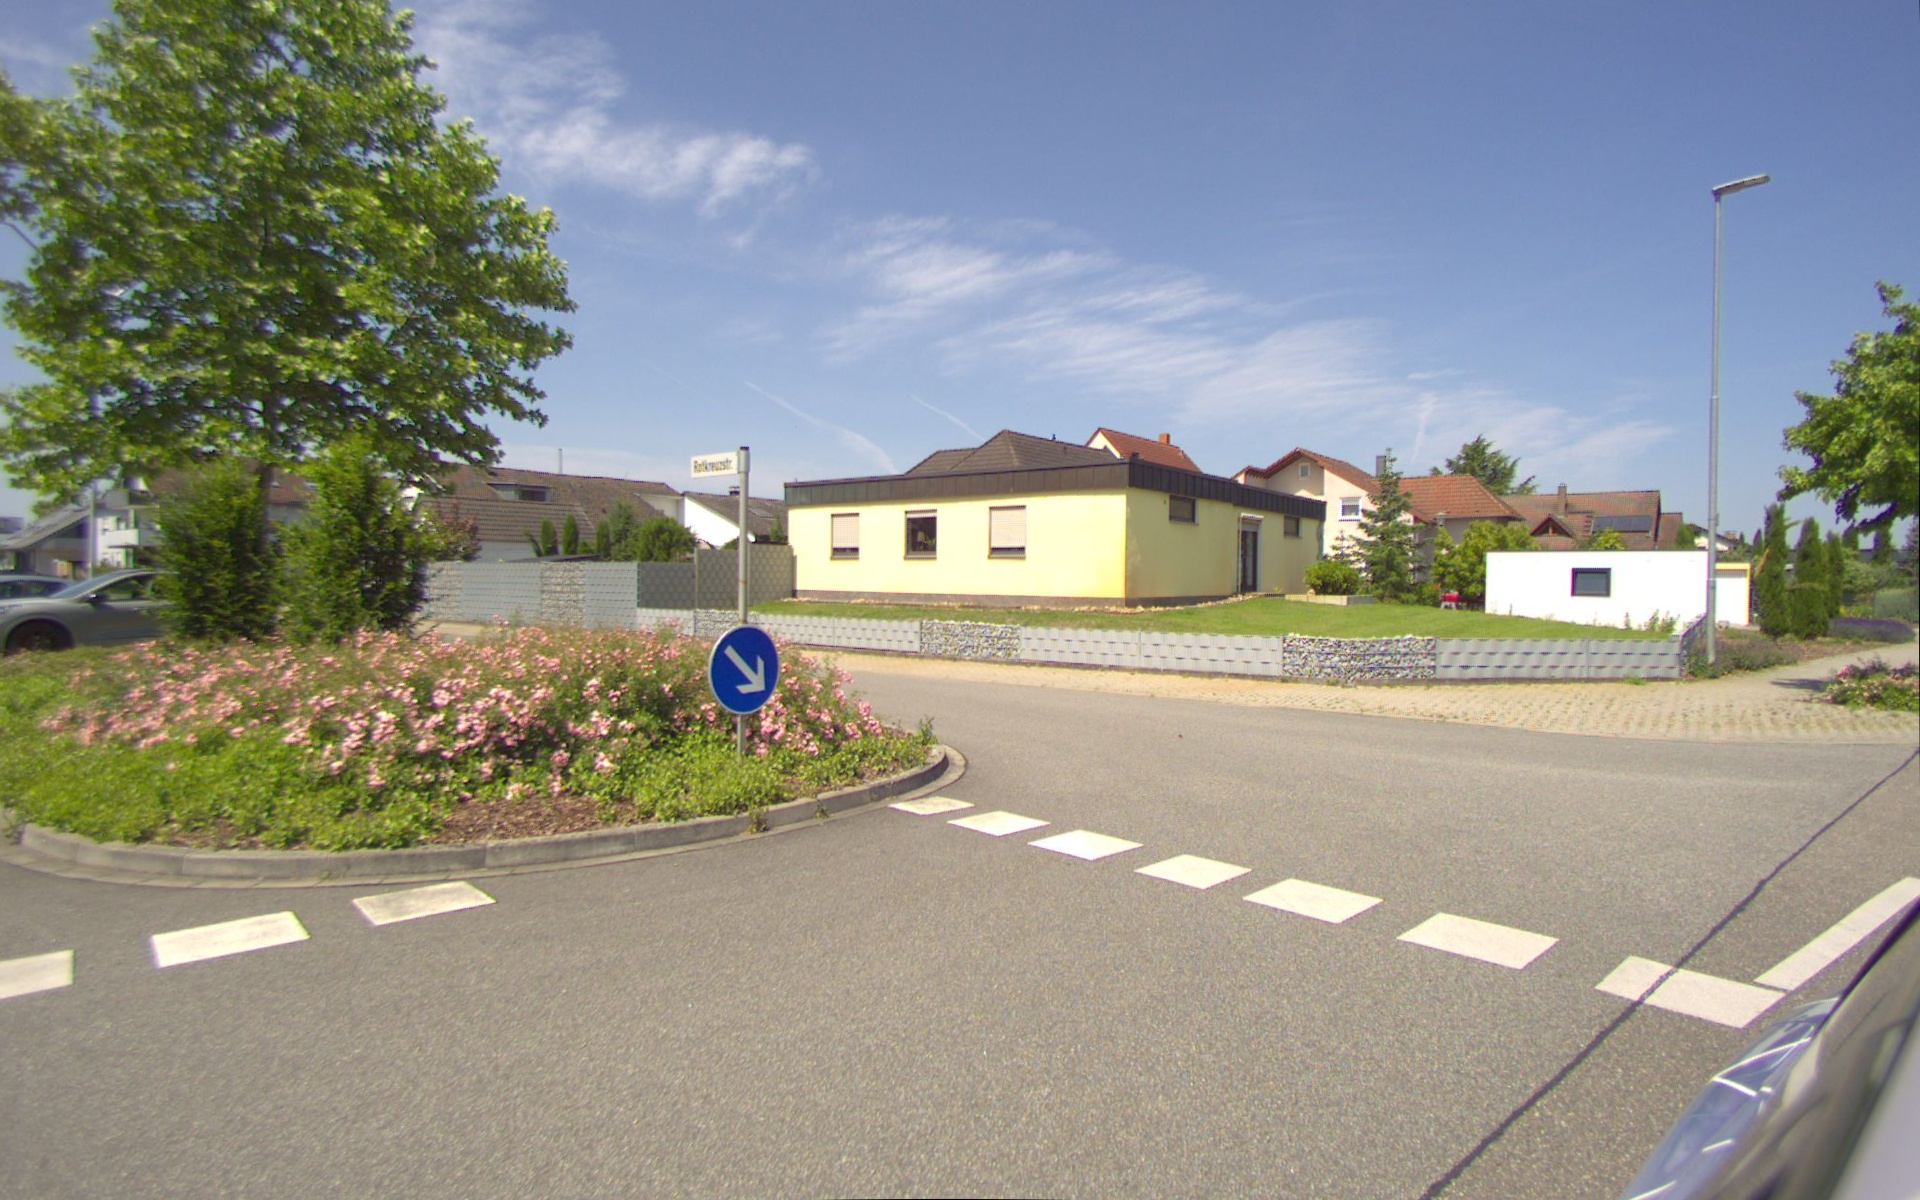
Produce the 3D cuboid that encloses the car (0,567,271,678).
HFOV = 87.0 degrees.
[{"bbox_3d":[-14.939,0.323,17.808,1.637,1.763,4.393,1,1,37],"label":"car"}]

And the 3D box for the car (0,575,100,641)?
[{"bbox_3d":[-22.369,0.172,23.024,1.632,1.488,3.963,1,1,29],"label":"car"}]

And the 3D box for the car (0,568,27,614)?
[{"bbox_3d":[-34.482,-0.310,34.339,1.750,1.616,3.947,1,1,37],"label":"car"}]

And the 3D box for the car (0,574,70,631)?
[{"bbox_3d":[-25.358,0.050,25.923,1.638,1.449,3.640,1,2,39],"label":"car"}]

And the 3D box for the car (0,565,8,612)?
[{"bbox_3d":[-36.961,-0.401,36.261,1.750,1.718,3.947,-1,0,37],"label":"car"}]

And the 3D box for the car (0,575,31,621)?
[{"bbox_3d":[-29.720,-0.043,29.696,1.507,1.374,3.455,-1,0,39],"label":"car"}]
